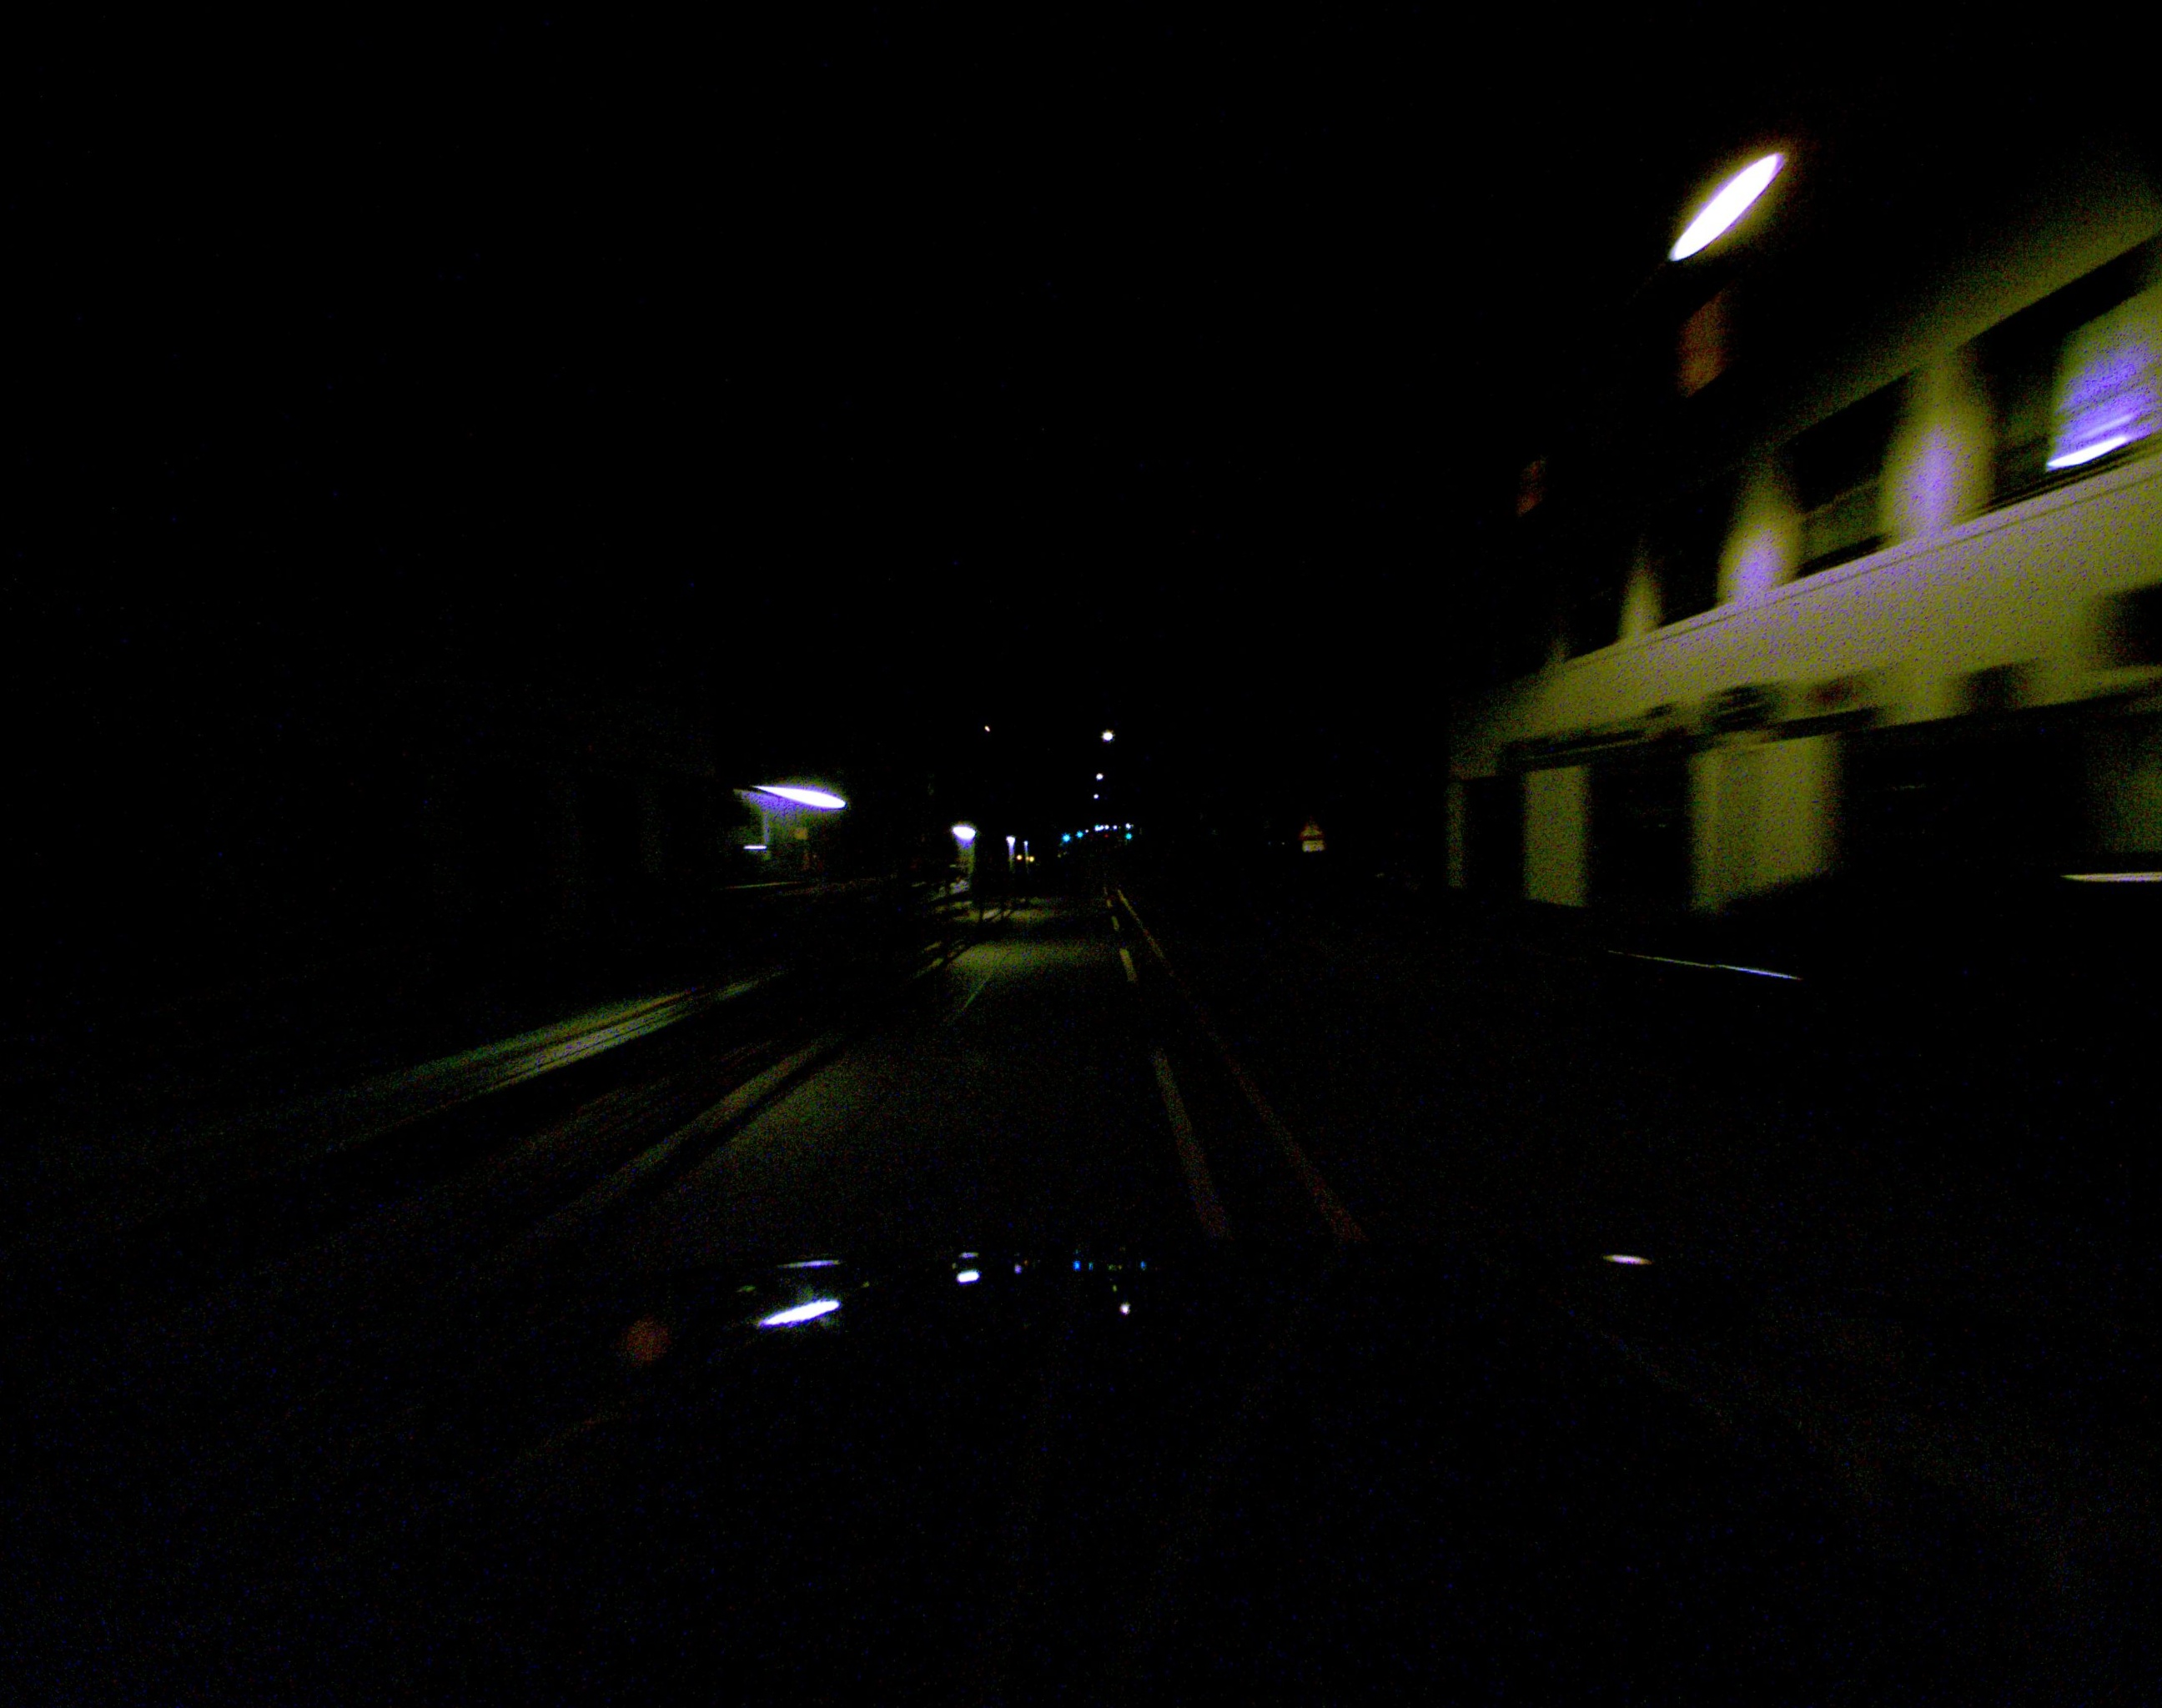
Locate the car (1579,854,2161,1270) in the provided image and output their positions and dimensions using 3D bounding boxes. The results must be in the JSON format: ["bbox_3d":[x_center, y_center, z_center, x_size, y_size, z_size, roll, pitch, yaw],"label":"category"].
[{"bbox_3d":[4.972,0.802,4.088,1.731,1.477,4.291,-3,1,0],"label":"car"}]
